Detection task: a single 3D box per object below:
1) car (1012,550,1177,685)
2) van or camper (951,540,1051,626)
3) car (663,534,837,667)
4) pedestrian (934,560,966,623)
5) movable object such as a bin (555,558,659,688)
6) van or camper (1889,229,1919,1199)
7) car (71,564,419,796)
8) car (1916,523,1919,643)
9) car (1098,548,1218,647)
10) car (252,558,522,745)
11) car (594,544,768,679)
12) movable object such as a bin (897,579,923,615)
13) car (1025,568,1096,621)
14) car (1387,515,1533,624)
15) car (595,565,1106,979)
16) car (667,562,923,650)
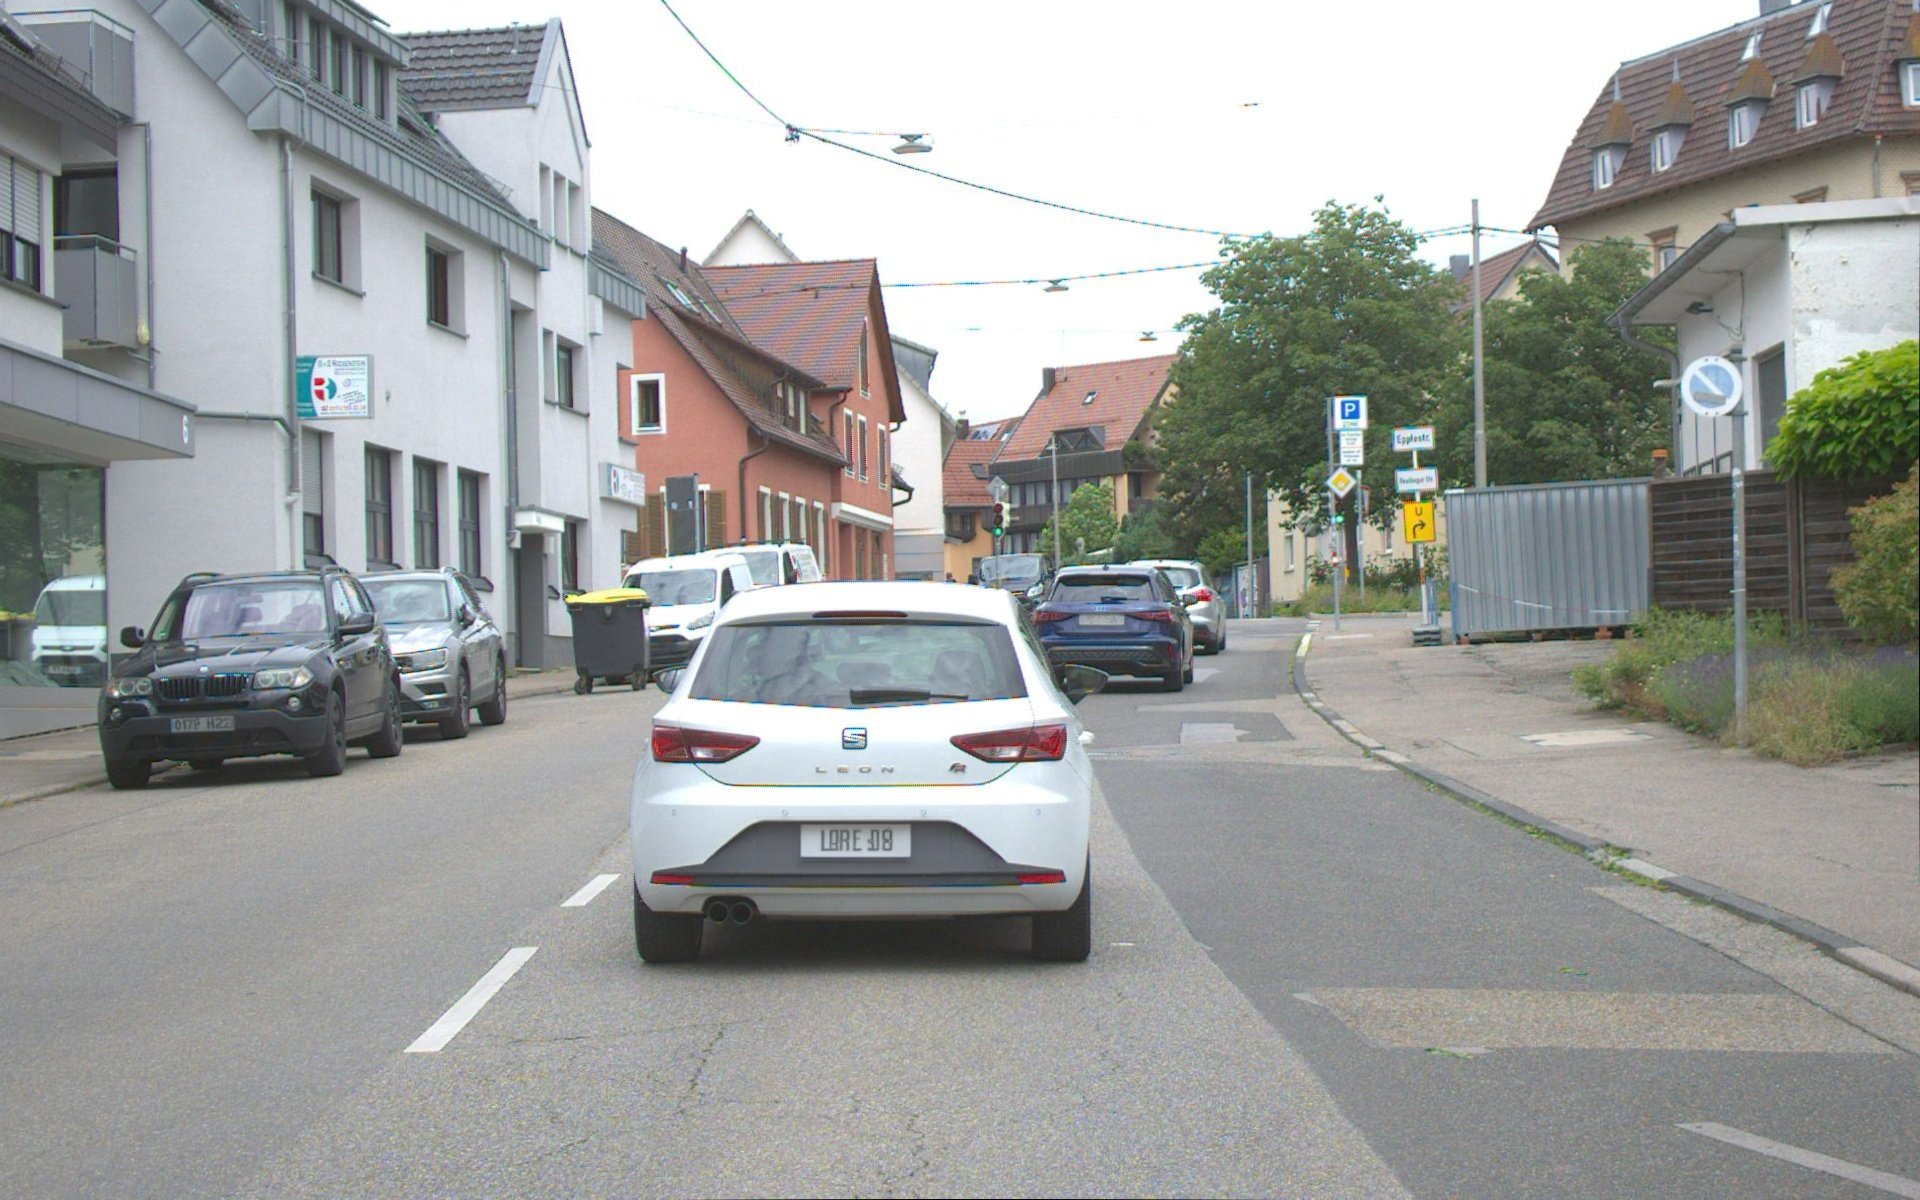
[{"bbox_3d":[1.601,0.225,39.664,1.758,1.447,3.999,-1,-1,4],"label":"car"},{"bbox_3d":[1.112,-0.410,90.207,2.074,1.999,4.856,-3,-2,6],"label":"van or camper"},{"bbox_3d":[-3.408,-0.027,56.688,1.812,1.999,4.761,-3,1,8],"label":"car"},{"bbox_3d":[-0.273,-0.248,97.261,0.800,1.778,0.892,-1,0,6],"label":"pedestrian"},{"bbox_3d":[-4.631,0.286,45.213,1.140,1.627,1.563,-3,1,0],"label":"movable object such as a bin"},{"bbox_3d":[2.483,0.502,2.696,1.993,2.007,5.065,1,1,-2],"label":"van or camper"},{"bbox_3d":[-5.685,0.575,27.881,1.837,1.627,4.408,-3,1,0],"label":"car"},{"bbox_3d":[8.067,0.191,22.045,3.311,1.514,1.704,-2,1,-20],"label":"car"},{"bbox_3d":[3.094,-0.014,53.481,1.758,1.447,3.999,-1,-1,4],"label":"car"},{"bbox_3d":[-5.508,0.442,33.555,1.837,1.627,4.408,-3,1,0],"label":"car"},{"bbox_3d":[-4.102,0.133,51.155,1.734,1.825,4.297,-3,1,6],"label":"car"},{"bbox_3d":[-1.458,-0.077,99.560,0.665,1.015,0.795,-2,0,3],"label":"movable object such as a bin"},{"bbox_3d":[3.220,-0.167,110.701,1.997,1.627,4.858,0,-1,-2],"label":"car"},{"bbox_3d":[8.698,-0.545,60.121,1.746,1.733,4.572,-3,1,0],"label":"car"},{"bbox_3d":[-0.310,0.616,14.276,1.758,1.447,3.999,-1,0,3],"label":"car"},{"bbox_3d":[-3.164,0.104,66.365,4.555,1.440,1.999,-3,0,10],"label":"car"}]
